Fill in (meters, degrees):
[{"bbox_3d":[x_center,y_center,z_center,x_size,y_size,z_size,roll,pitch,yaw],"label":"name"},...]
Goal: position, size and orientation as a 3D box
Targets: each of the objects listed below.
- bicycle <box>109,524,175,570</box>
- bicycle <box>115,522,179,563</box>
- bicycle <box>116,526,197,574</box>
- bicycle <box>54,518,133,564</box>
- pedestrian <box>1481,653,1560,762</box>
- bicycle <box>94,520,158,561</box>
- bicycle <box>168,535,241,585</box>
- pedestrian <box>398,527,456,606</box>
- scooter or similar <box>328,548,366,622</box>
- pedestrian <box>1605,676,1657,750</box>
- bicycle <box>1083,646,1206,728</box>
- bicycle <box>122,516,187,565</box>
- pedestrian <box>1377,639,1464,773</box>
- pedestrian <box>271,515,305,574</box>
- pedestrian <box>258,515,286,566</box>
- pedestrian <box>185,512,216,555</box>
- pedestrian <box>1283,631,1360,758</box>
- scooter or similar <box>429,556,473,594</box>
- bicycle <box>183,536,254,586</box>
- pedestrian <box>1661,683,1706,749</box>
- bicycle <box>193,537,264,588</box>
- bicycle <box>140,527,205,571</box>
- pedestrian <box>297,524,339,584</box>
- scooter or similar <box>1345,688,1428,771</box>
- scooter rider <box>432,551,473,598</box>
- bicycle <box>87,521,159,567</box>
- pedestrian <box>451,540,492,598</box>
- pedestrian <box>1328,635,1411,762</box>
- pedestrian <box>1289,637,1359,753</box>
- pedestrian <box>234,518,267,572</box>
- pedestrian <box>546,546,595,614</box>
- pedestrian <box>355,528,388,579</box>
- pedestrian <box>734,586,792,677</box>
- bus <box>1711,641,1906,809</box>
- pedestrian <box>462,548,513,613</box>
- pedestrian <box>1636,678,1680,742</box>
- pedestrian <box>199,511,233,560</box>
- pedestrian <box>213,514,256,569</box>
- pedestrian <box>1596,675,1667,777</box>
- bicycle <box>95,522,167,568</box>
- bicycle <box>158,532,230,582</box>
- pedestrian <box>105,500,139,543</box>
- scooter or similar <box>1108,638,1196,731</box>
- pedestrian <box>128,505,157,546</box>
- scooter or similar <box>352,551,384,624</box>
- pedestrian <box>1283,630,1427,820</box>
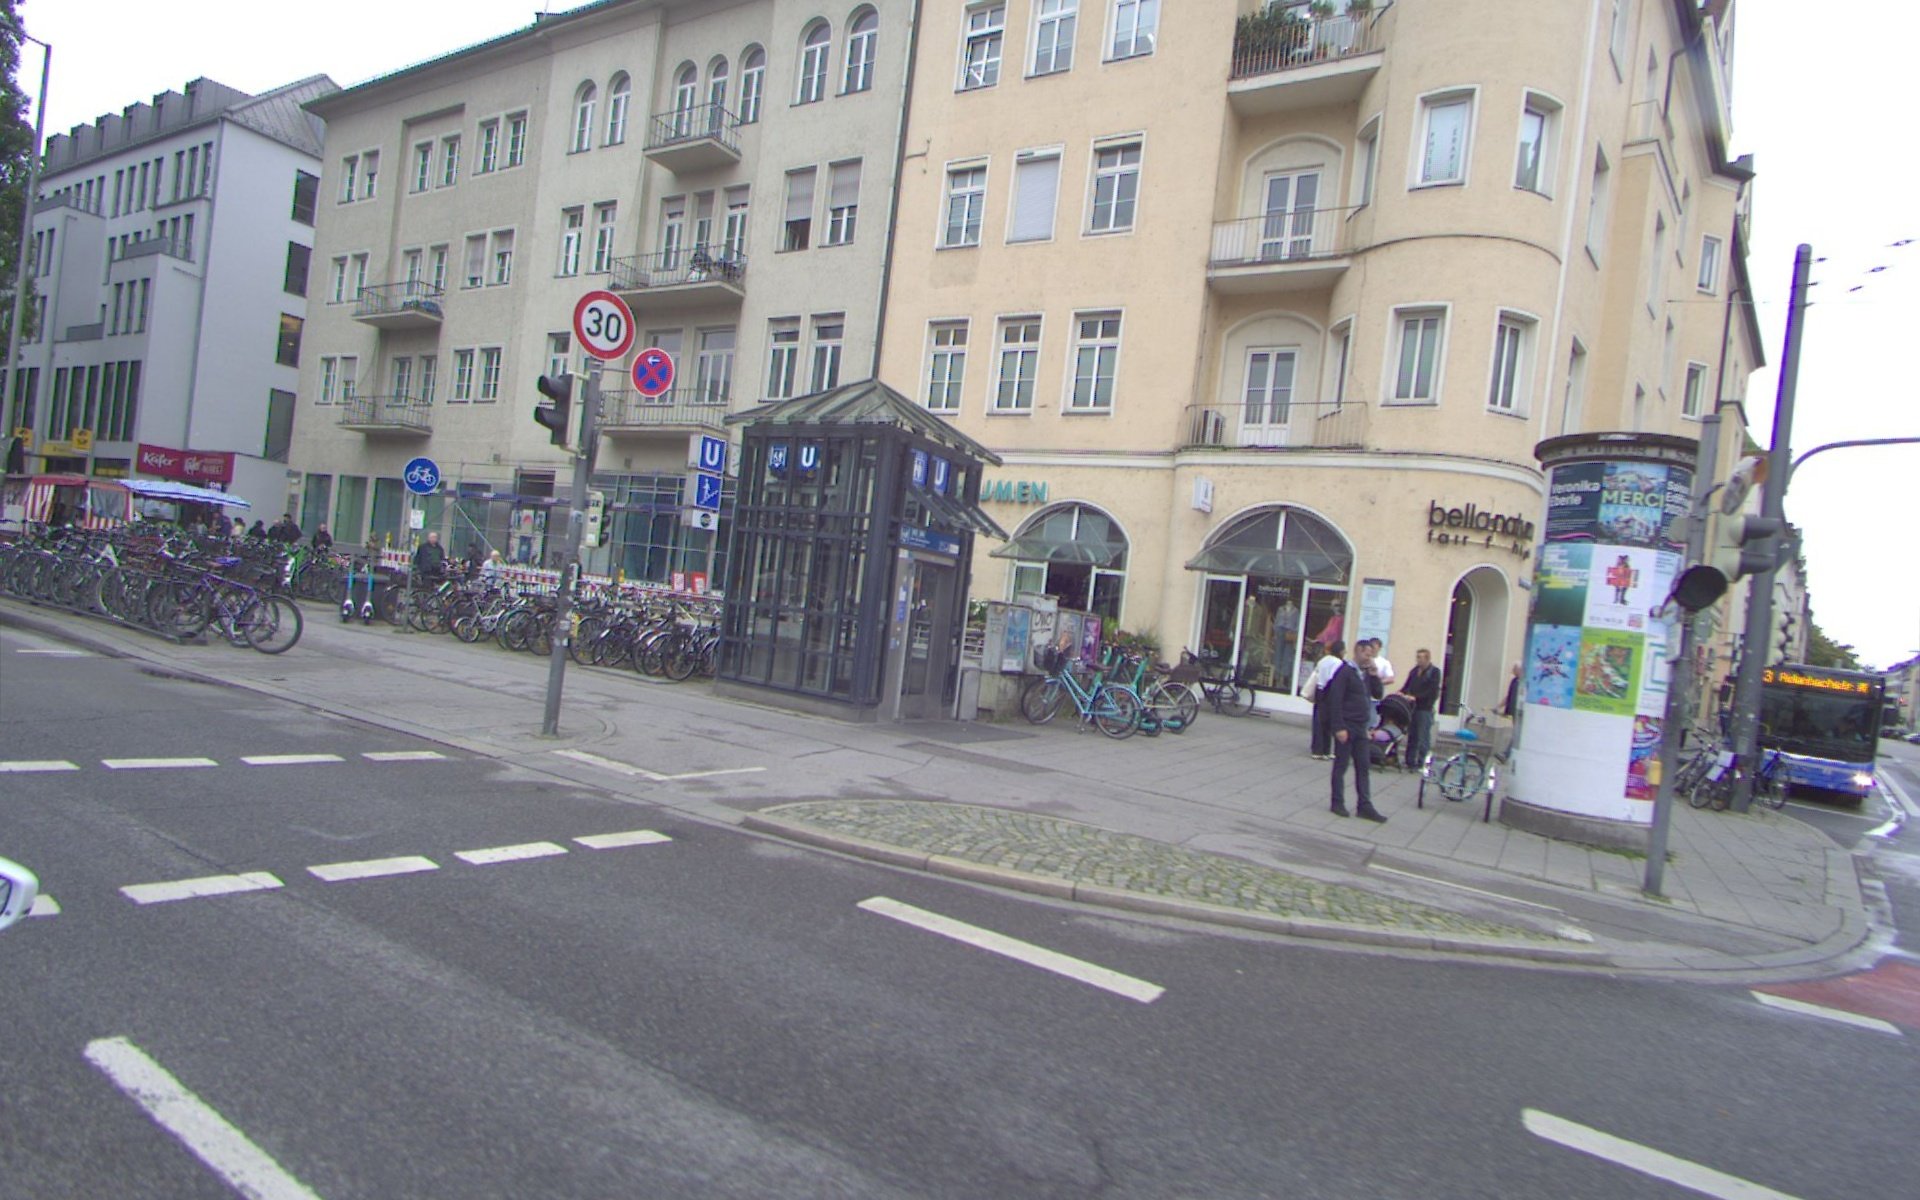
[{"bbox_3d":[-19.795,-1.270,24.375,0.362,0.975,1.229,7,0,10],"label":"bicycle"},{"bbox_3d":[-22.256,-1.566,27.559,0.363,0.975,1.245,7,0,30],"label":"bicycle"},{"bbox_3d":[-18.855,-1.163,23.624,0.363,0.975,1.405,7,0,27],"label":"bicycle"},{"bbox_3d":[-22.149,-1.502,25.744,0.364,0.975,1.431,7,0,37],"label":"bicycle"},{"bbox_3d":[9.555,1.832,17.164,0.677,1.727,0.738,6,4,-41],"label":"pedestrian"},{"bbox_3d":[-22.841,-1.624,27.565,0.363,0.975,1.245,7,0,30],"label":"bicycle"},{"bbox_3d":[-16.867,-0.891,22.487,0.363,0.975,1.181,7,0,36],"label":"bicycle"},{"bbox_3d":[-12.482,-0.778,23.583,0.746,1.750,0.813,7,2,32],"label":"pedestrian"},{"bbox_3d":[-10.626,-0.280,17.451,0.360,1.190,1.337,6,1,-27],"label":"scooter or similar"},{"bbox_3d":[16.736,2.808,25.081,0.736,1.707,0.722,11,4,41],"label":"pedestrian"},{"bbox_3d":[3.012,1.397,16.414,1.831,1.072,0.496,7,1,17],"label":"bicycle"},{"bbox_3d":[-21.706,-1.596,27.122,0.363,1.154,1.245,7,0,30],"label":"bicycle"},{"bbox_3d":[6.546,1.503,14.312,0.645,1.774,0.630,7,4,-36],"label":"pedestrian"},{"bbox_3d":[-20.237,-1.675,30.304,0.594,1.690,0.682,6,1,-23],"label":"pedestrian"},{"bbox_3d":[-21.073,-1.810,30.809,0.501,1.503,0.462,6,1,-23],"label":"pedestrian"},{"bbox_3d":[-26.805,-2.338,35.518,0.570,1.420,0.599,7,1,32],"label":"pedestrian"},{"bbox_3d":[5.142,1.345,14.326,0.562,1.693,0.556,7,4,-36],"label":"pedestrian"},{"bbox_3d":[-14.474,-0.702,28.618,1.106,0.956,0.535,7,2,30],"label":"scooter or similar"},{"bbox_3d":[-16.322,-0.848,22.155,0.364,0.975,1.133,7,1,37],"label":"bicycle"},{"bbox_3d":[20.726,3.312,28.824,0.736,1.748,0.722,11,4,41],"label":"pedestrian"},{"bbox_3d":[-15.949,-0.804,21.940,0.364,0.975,1.133,7,1,37],"label":"bicycle"},{"bbox_3d":[-20.735,-1.331,26.509,0.363,0.993,1.245,7,0,30],"label":"bicycle"},{"bbox_3d":[-19.975,-1.431,31.308,0.746,1.750,0.742,7,2,32],"label":"pedestrian"},{"bbox_3d":[5.895,1.790,13.912,0.815,1.007,0.587,7,3,-36],"label":"scooter or similar"},{"bbox_3d":[-14.420,-0.721,28.595,0.707,1.235,0.686,7,2,30],"label":"scooter rider"},{"bbox_3d":[-20.848,-1.387,25.070,0.363,0.975,1.261,7,0,34],"label":"bicycle"},{"bbox_3d":[-14.460,-0.907,29.759,0.775,1.588,0.649,7,1,33],"label":"pedestrian"},{"bbox_3d":[6.108,1.452,15.045,0.720,1.727,0.645,9,3,2],"label":"pedestrian"},{"bbox_3d":[5.412,1.411,14.956,0.559,1.631,0.560,6,4,-45],"label":"pedestrian"},{"bbox_3d":[-21.113,-1.635,29.951,0.574,1.524,0.612,6,1,-27],"label":"pedestrian"},{"bbox_3d":[-10.153,-0.520,26.247,0.745,1.672,0.751,7,2,30],"label":"pedestrian"},{"bbox_3d":[-20.308,-1.594,34.714,0.553,1.665,0.641,7,1,32],"label":"pedestrian"},{"bbox_3d":[-3.871,0.622,19.777,0.710,1.692,0.657,7,2,33],"label":"pedestrian"},{"bbox_3d":[22.039,3.119,25.995,2.776,3.004,13.537,8,1,42],"label":"bus"},{"bbox_3d":[-11.976,-0.500,25.519,0.745,1.537,0.778,7,2,30],"label":"pedestrian"},{"bbox_3d":[20.626,3.254,29.719,0.736,1.748,0.722,11,4,41],"label":"pedestrian"},{"bbox_3d":[-23.477,-2.046,31.746,0.648,1.443,0.615,7,1,37],"label":"pedestrian"},{"bbox_3d":[-22.149,-1.781,30.721,0.801,1.541,0.795,6,1,-25],"label":"pedestrian"},{"bbox_3d":[12.224,2.276,18.310,0.736,1.707,0.679,11,4,41],"label":"pedestrian"},{"bbox_3d":[-20.443,-1.355,24.823,0.364,0.975,1.259,7,1,41],"label":"bicycle"},{"bbox_3d":[-17.318,-0.963,22.766,0.363,0.975,1.182,7,0,30],"label":"bicycle"},{"bbox_3d":[-33.999,-3.194,40.816,0.729,1.622,0.733,7,1,32],"label":"pedestrian"},{"bbox_3d":[2.882,1.255,15.108,1.133,1.242,0.288,7,1,23],"label":"scooter or similar"},{"bbox_3d":[-30.555,-2.787,37.602,0.570,1.420,0.599,7,1,32],"label":"pedestrian"},{"bbox_3d":[-10.265,-0.229,17.460,0.297,1.190,1.268,6,1,-27],"label":"scooter or similar"},{"bbox_3d":[3.891,1.215,9.955,0.825,1.712,0.815,6,1,-21],"label":"pedestrian"}]
